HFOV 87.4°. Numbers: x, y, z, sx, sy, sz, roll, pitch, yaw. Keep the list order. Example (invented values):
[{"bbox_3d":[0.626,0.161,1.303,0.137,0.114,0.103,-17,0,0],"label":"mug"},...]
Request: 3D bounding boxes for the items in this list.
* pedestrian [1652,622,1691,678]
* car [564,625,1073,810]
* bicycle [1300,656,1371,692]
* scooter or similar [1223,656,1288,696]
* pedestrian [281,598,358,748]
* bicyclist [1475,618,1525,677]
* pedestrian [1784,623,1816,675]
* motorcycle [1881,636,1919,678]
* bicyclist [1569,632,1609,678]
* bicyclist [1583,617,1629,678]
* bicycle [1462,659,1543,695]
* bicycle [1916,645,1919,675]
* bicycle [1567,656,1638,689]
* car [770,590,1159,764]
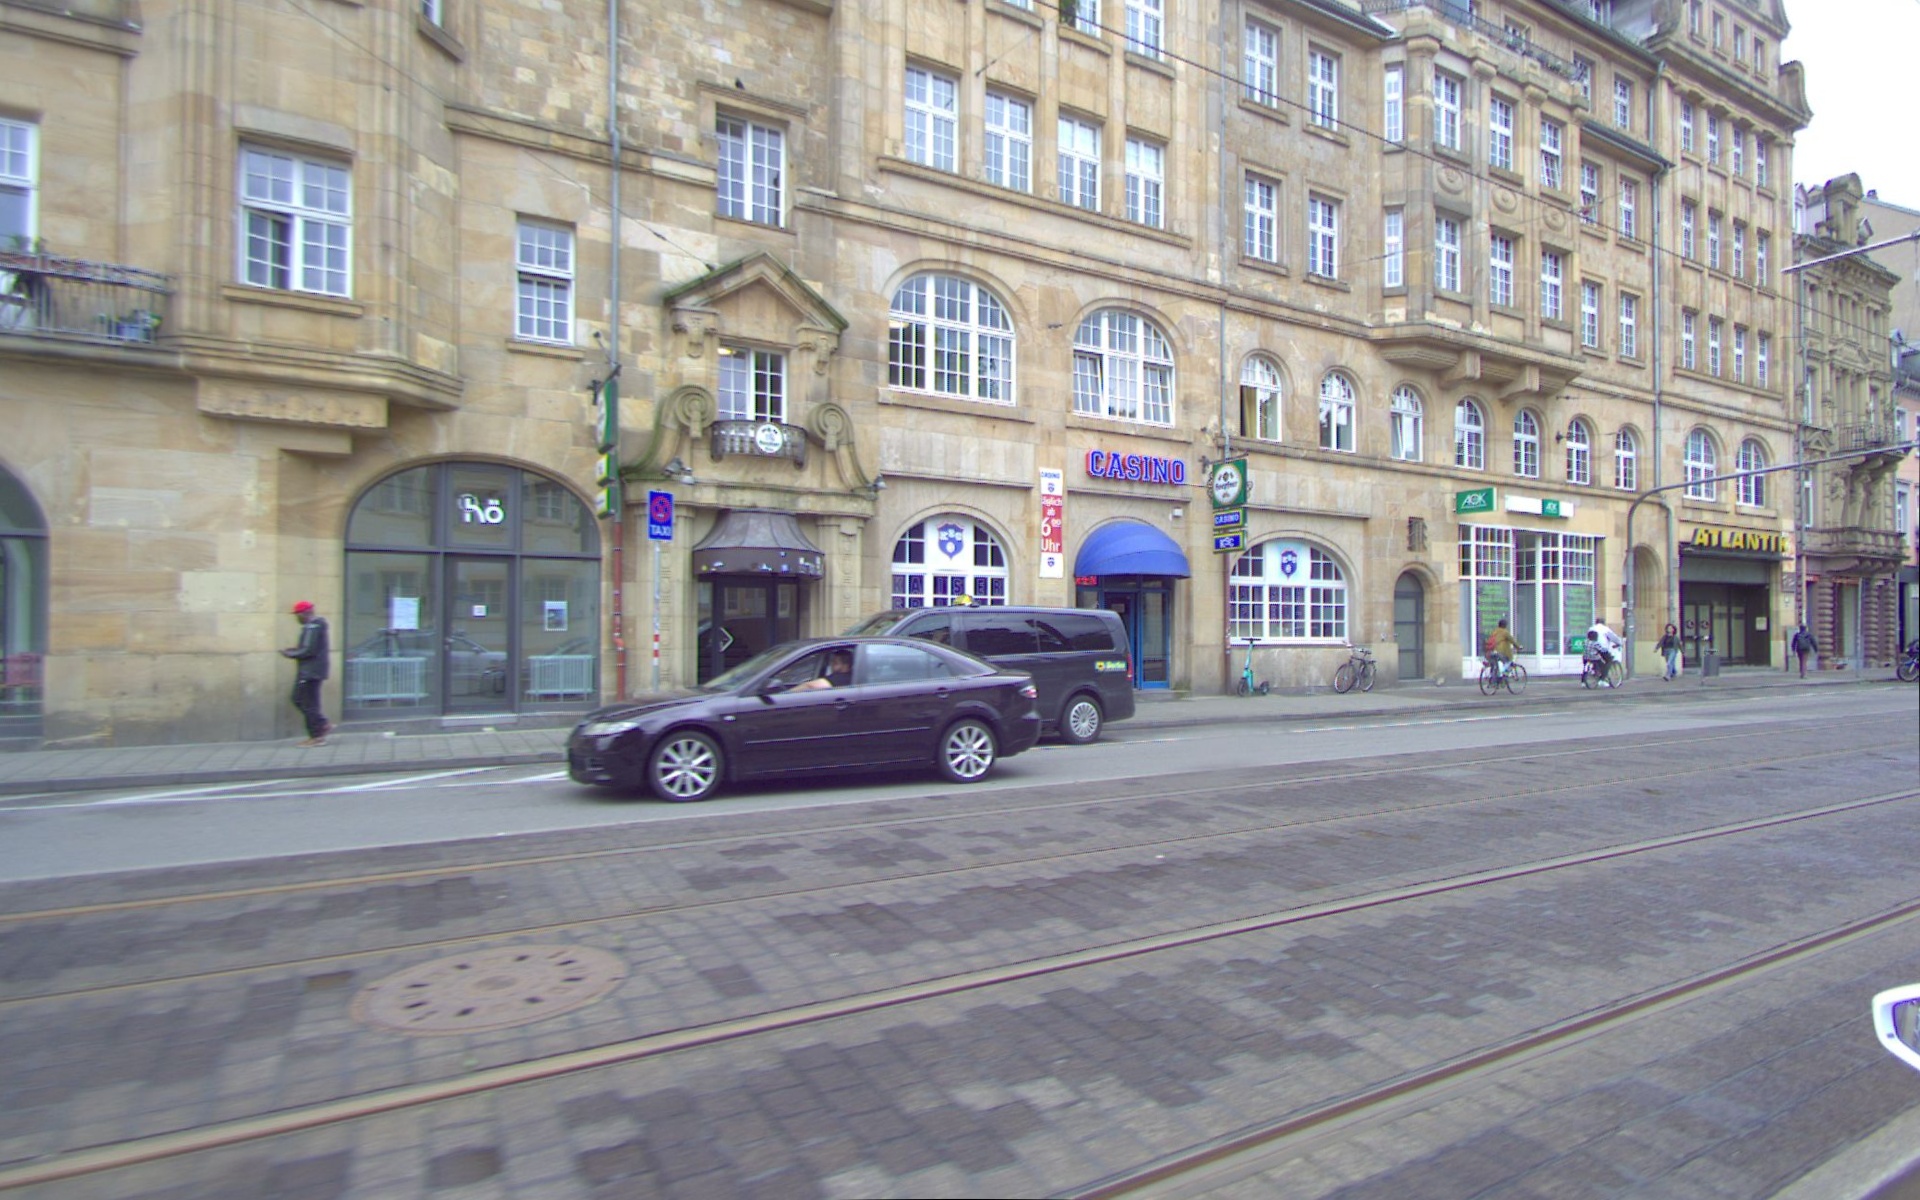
[{"bbox_3d":[20.879,1.458,29.462,0.733,1.634,0.682,1,-1,-30],"label":"pedestrian"},{"bbox_3d":[-1.345,1.018,9.826,4.604,1.452,1.822,0,-4,-26],"label":"car"},{"bbox_3d":[8.592,1.682,22.962,1.686,0.755,0.579,1,-1,-30],"label":"bicycle"},{"bbox_3d":[6.332,1.614,21.508,1.329,0.813,0.579,1,-1,-30],"label":"scooter or similar"},{"bbox_3d":[-7.738,0.858,12.150,0.757,1.751,0.491,1,-1,-33],"label":"pedestrian"},{"bbox_3d":[12.470,1.082,23.196,0.960,1.341,0.608,1,-1,-30],"label":"bicyclist"},{"bbox_3d":[26.353,1.528,31.518,0.710,1.619,0.565,1,-1,-30],"label":"pedestrian"},{"bbox_3d":[31.048,1.808,32.038,2.299,1.320,0.883,-1,-1,24],"label":"motorcycle"},{"bbox_3d":[15.714,1.360,25.109,0.652,1.132,0.608,1,-1,-30],"label":"bicyclist"},{"bbox_3d":[16.410,1.201,25.521,0.960,1.507,0.608,1,-1,-30],"label":"bicyclist"},{"bbox_3d":[12.550,1.758,23.231,2.224,0.755,0.579,1,-1,-30],"label":"bicycle"},{"bbox_3d":[32.606,1.978,32.832,0.459,1.014,1.908,1,-2,-37],"label":"bicycle"},{"bbox_3d":[16.280,1.822,25.435,2.224,0.755,0.579,1,-1,-30],"label":"bicycle"},{"bbox_3d":[0.139,0.974,13.673,5.038,2.002,1.890,1,-4,-31],"label":"car"}]
